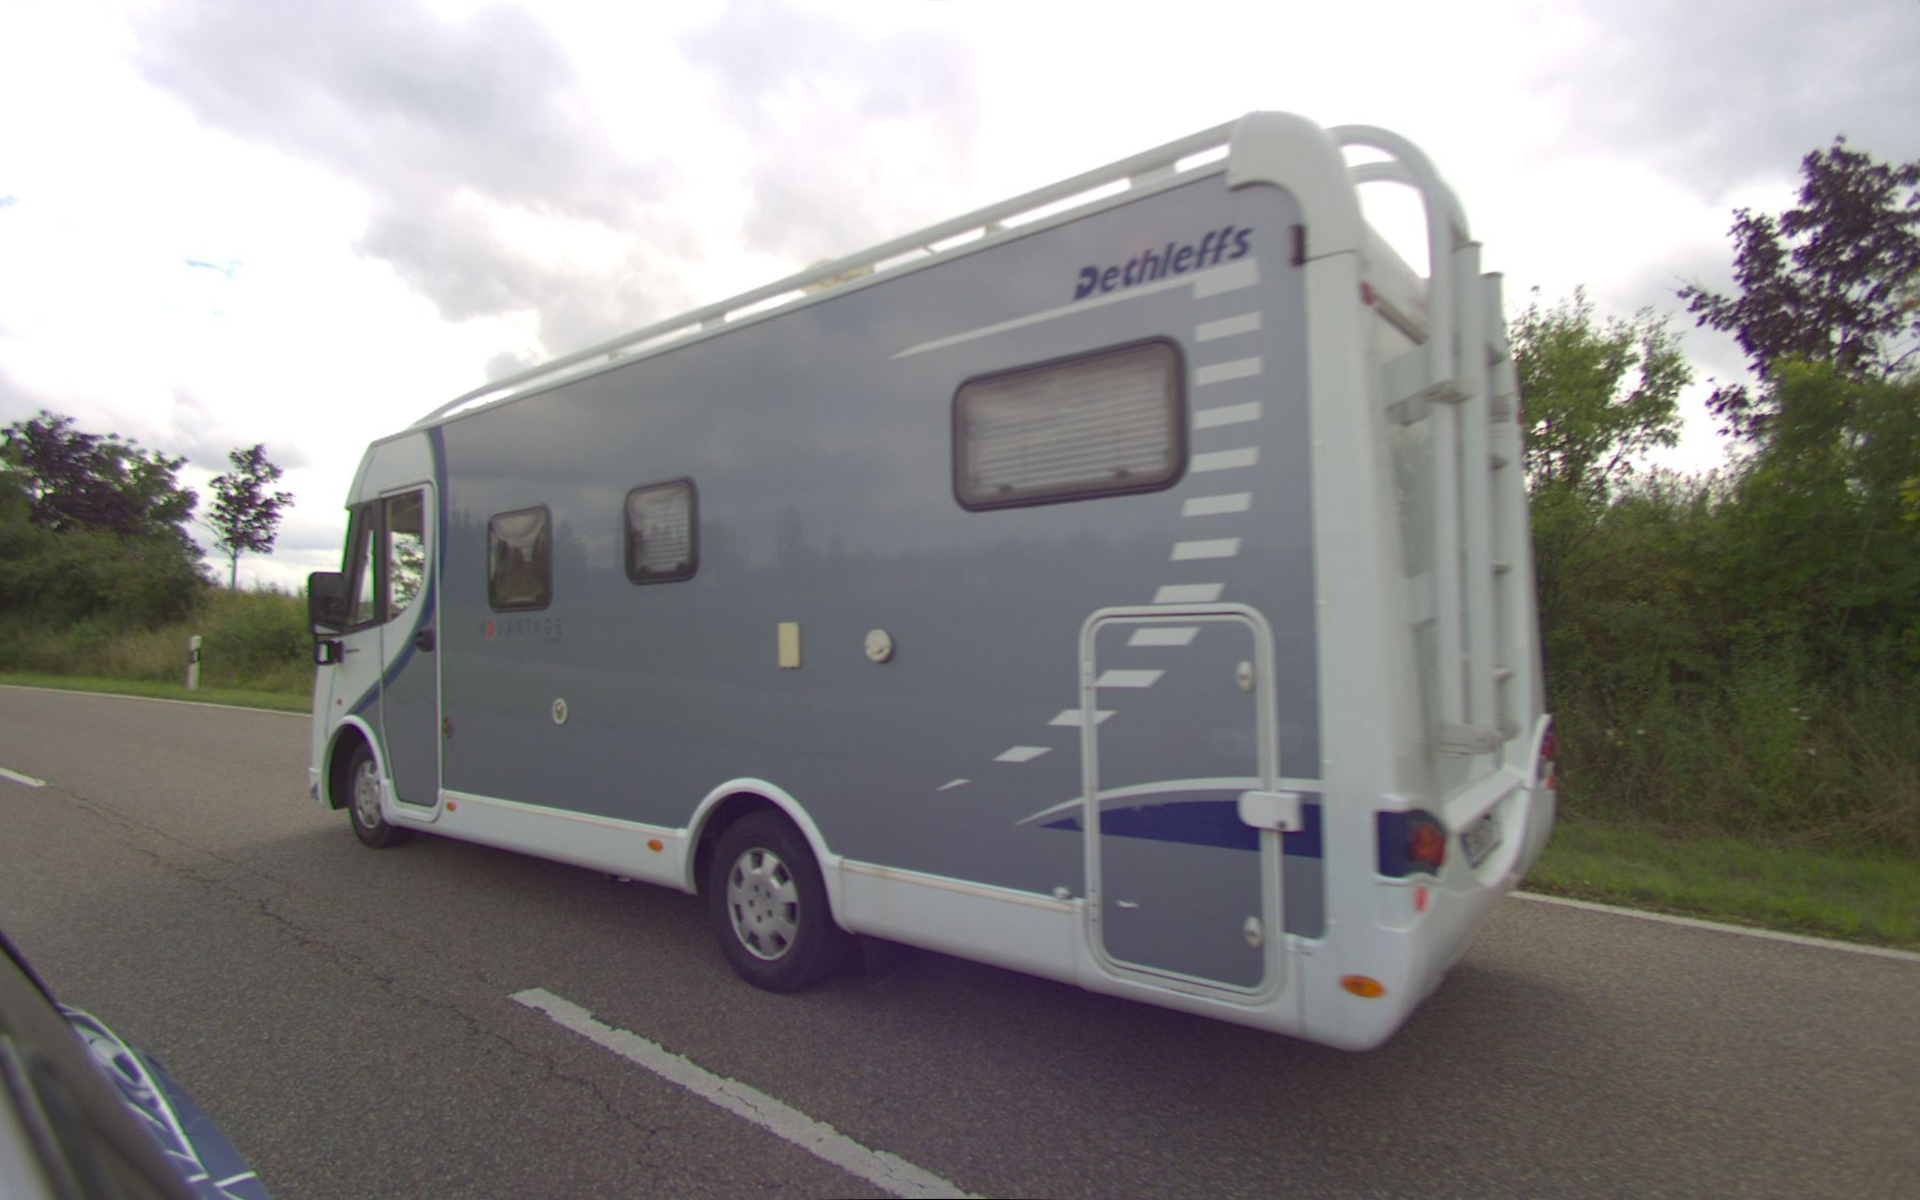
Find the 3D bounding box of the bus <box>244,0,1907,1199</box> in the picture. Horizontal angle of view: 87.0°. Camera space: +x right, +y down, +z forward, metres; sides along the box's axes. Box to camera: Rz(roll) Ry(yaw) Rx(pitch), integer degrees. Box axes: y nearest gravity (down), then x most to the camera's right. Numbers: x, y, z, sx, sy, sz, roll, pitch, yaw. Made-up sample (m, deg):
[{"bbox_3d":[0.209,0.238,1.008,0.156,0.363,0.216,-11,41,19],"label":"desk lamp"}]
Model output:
[{"bbox_3d":[-0.947,0.055,5.301,8.422,2.732,2.450,-1,-2,40],"label":"bus"}]
